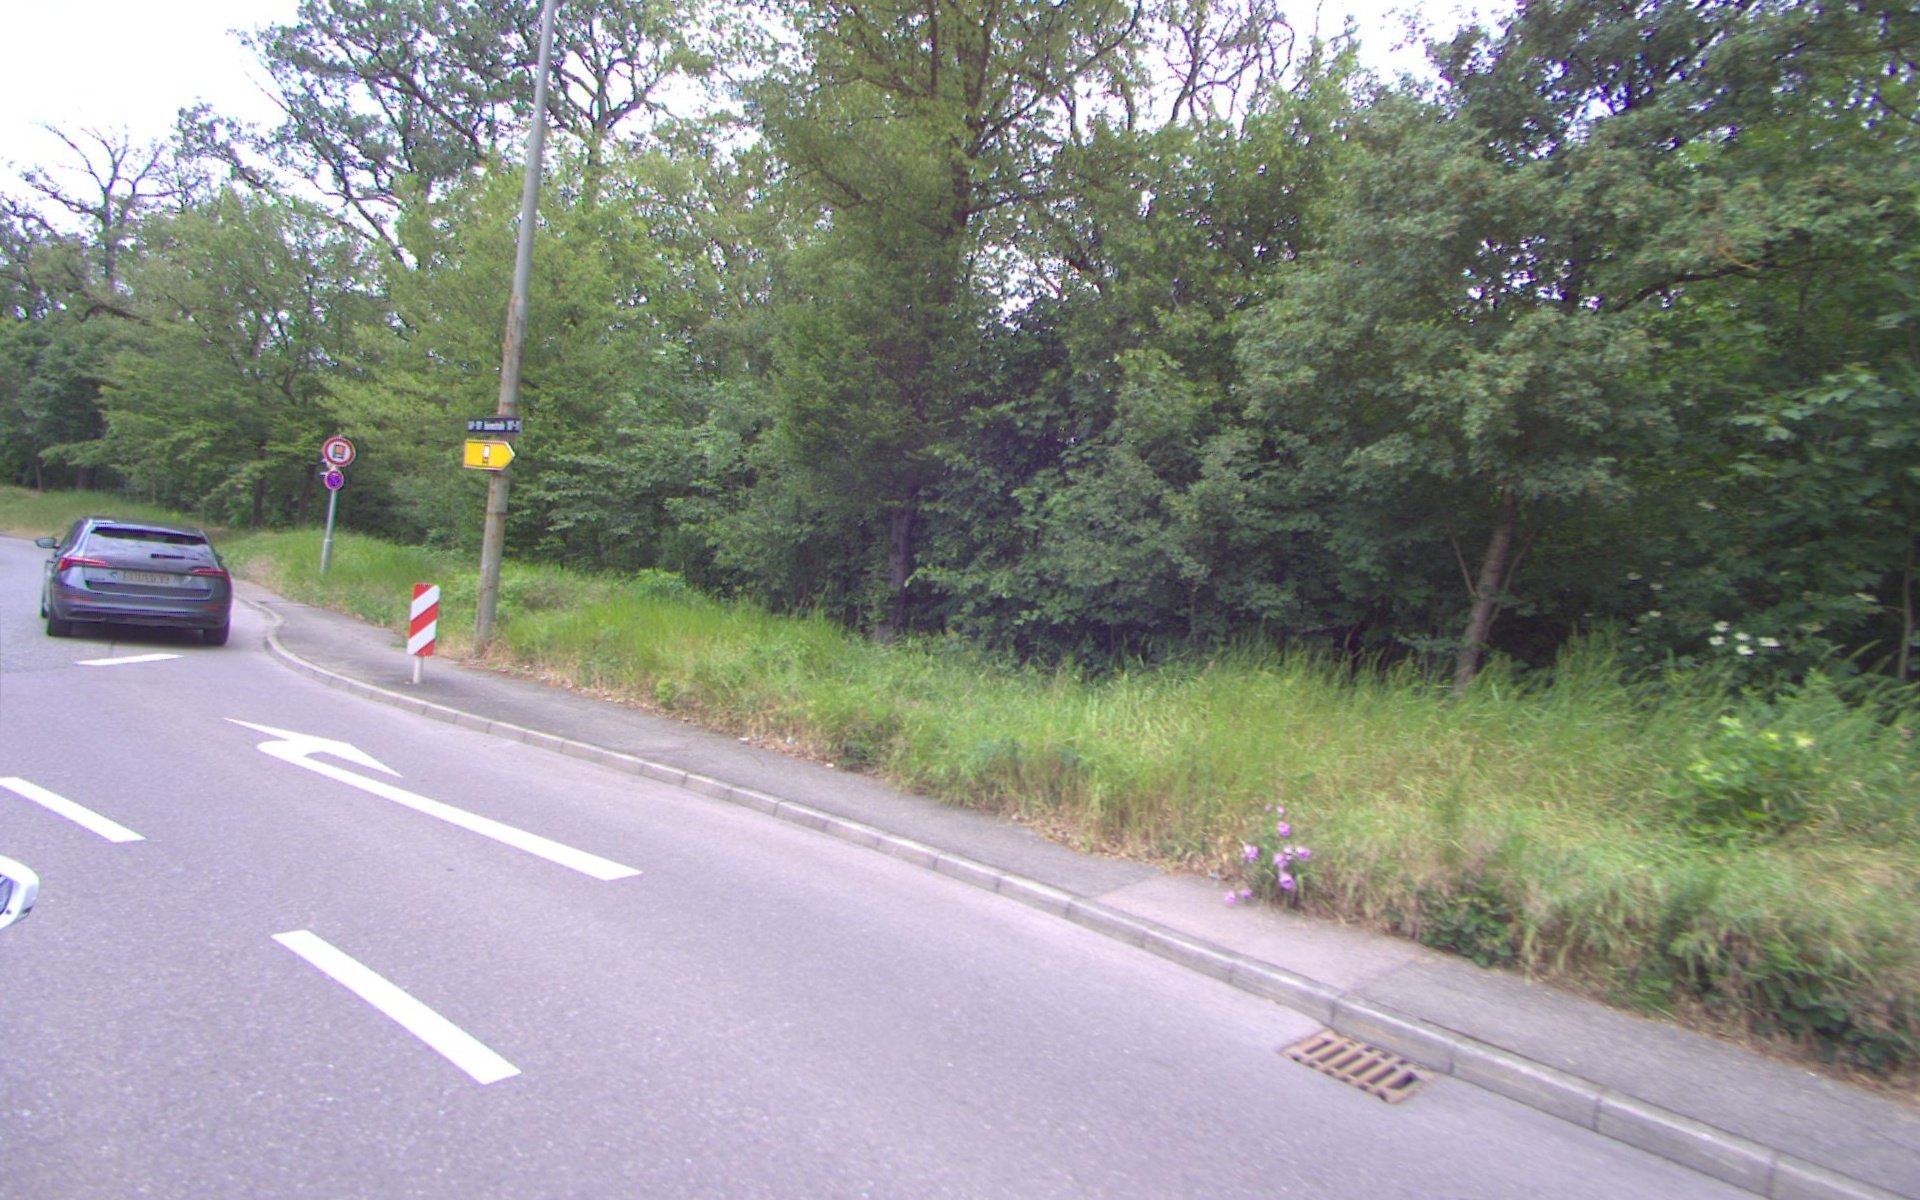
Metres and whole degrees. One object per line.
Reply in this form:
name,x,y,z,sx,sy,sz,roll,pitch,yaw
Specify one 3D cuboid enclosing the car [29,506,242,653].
car,-10.766,-0.331,13.076,1.787,1.468,3.952,8,-1,-42
